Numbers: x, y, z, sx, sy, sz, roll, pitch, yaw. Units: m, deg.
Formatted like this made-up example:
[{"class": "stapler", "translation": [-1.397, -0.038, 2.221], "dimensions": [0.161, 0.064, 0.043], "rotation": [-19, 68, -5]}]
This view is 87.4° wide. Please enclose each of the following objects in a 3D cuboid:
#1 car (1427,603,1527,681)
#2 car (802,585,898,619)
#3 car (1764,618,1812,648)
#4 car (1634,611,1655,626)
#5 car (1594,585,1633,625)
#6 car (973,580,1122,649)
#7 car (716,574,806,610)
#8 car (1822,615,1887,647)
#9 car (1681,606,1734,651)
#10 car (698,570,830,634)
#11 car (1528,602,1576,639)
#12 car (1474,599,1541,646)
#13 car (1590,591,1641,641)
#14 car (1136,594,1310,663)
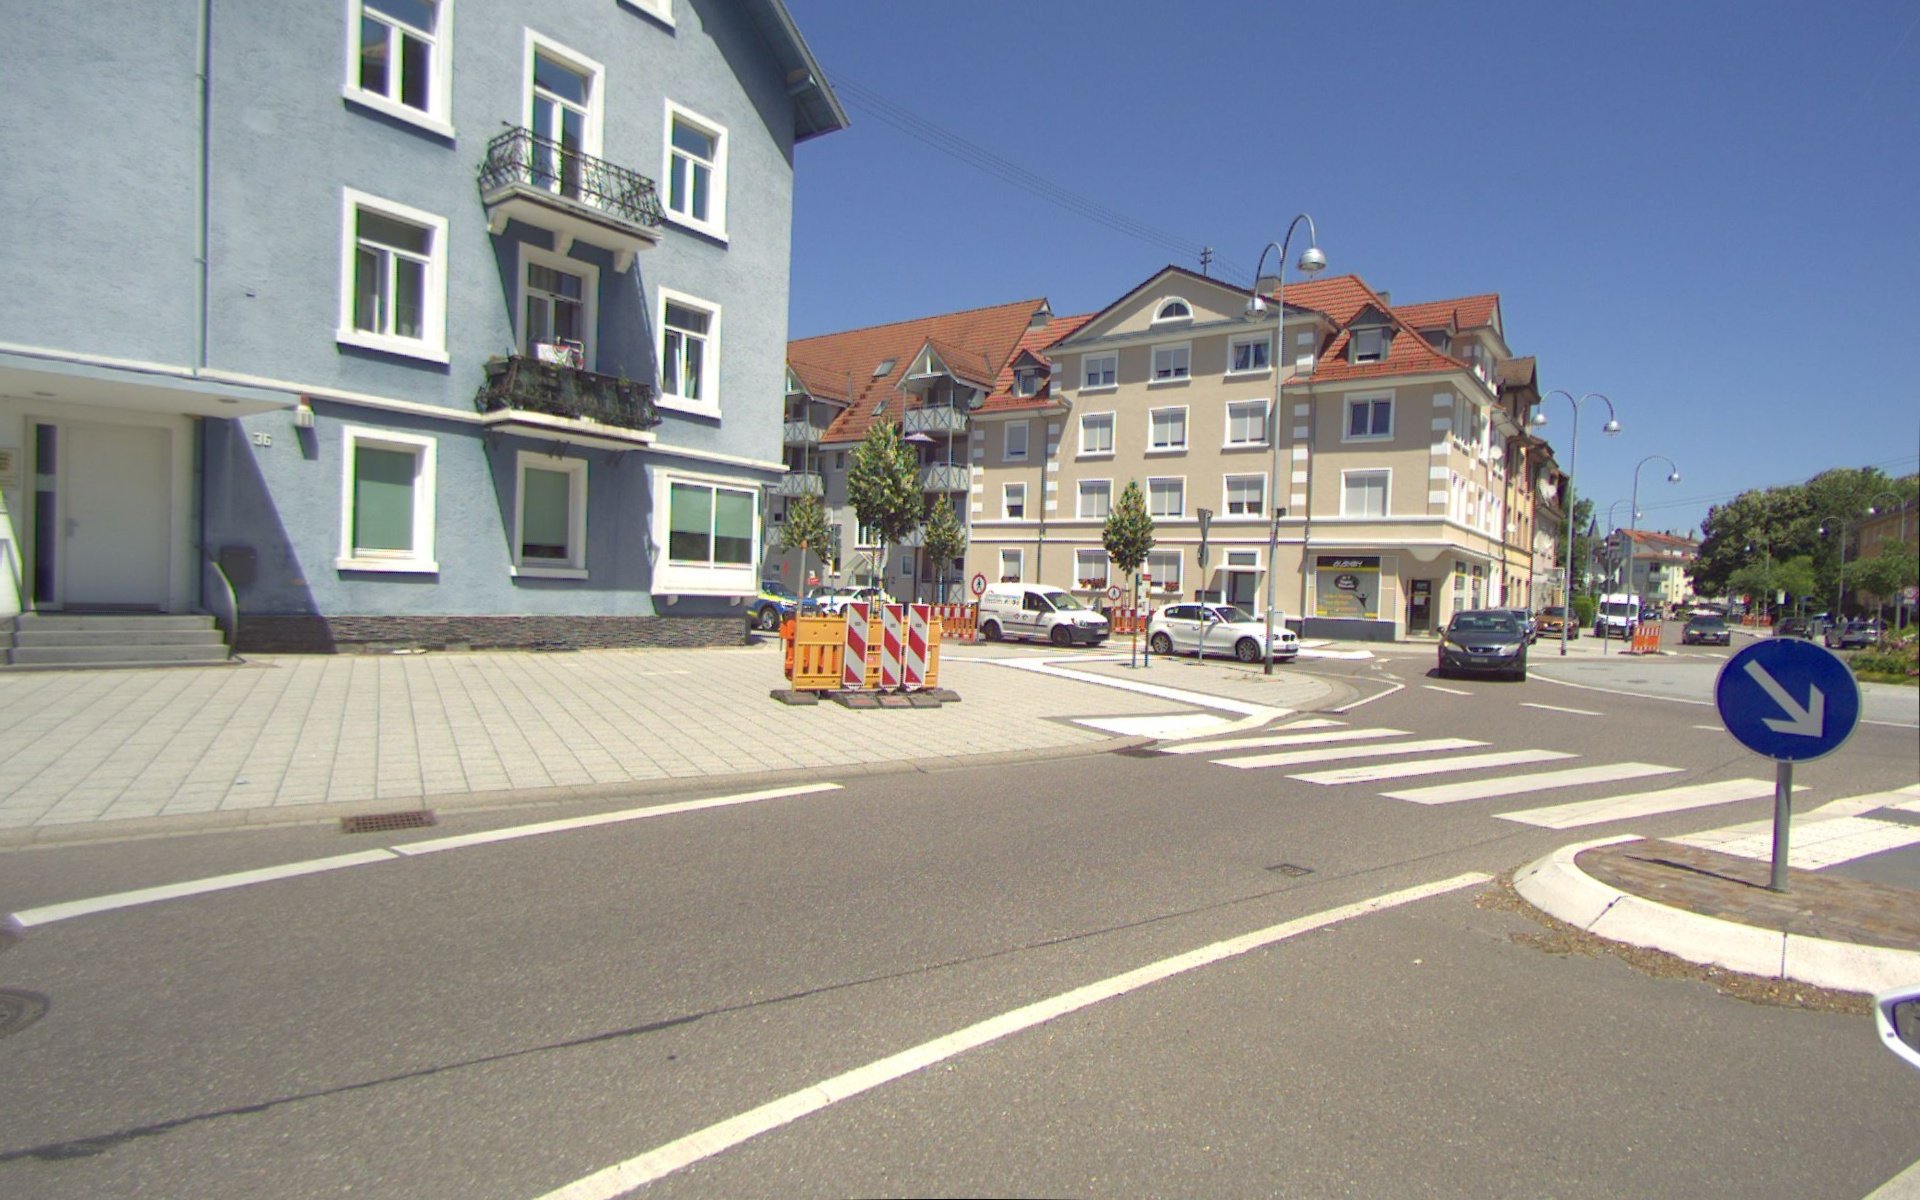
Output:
[{"class": "car", "translation": [11.281, 0.852, 22.123], "dimensions": [1.633, 1.472, 4.020], "rotation": [0, 1, 23]}, {"class": "car", "translation": [-5.129, 0.122, 47.346], "dimensions": [1.951, 1.512, 4.391], "rotation": [2, 0, 38]}, {"class": "car", "translation": [57.059, 2.255, 69.287], "dimensions": [1.786, 1.818, 3.992], "rotation": [5, 2, 30]}, {"class": "car", "translation": [86.540, 2.330, 127.039], "dimensions": [1.786, 1.818, 3.992], "rotation": [5, 2, 30]}, {"class": "car", "translation": [46.316, 0.381, 71.172], "dimensions": [2.115, 2.566, 4.841], "rotation": [5, 2, 33]}, {"class": "car", "translation": [2.583, 0.402, 30.224], "dimensions": [4.181, 1.801, 1.772], "rotation": [3, 1, 42]}, {"class": "car", "translation": [-10.232, -0.399, 51.959], "dimensions": [1.951, 1.692, 4.355], "rotation": [2, 0, 38]}, {"class": "car", "translation": [48.939, 1.657, 55.029], "dimensions": [1.786, 1.520, 3.992], "rotation": [5, 2, 30]}, {"class": "car", "translation": [38.030, 1.422, 51.128], "dimensions": [1.968, 2.040, 3.985], "rotation": [5, 2, 36]}, {"class": "car", "translation": [-6.237, 0.018, 31.733], "dimensions": [4.177, 1.801, 1.774], "rotation": [3, 1, 39]}, {"class": "car", "translation": [29.582, 1.030, 50.123], "dimensions": [1.578, 1.638, 4.077], "rotation": [5, 2, 36]}, {"class": "car", "translation": [22.192, 0.888, 40.628], "dimensions": [1.752, 1.708, 4.678], "rotation": [3, 1, 36]}, {"class": "car", "translation": [37.278, 0.907, 57.111], "dimensions": [2.115, 2.566, 6.220], "rotation": [5, 2, 33]}, {"class": "car", "translation": [6.763, 0.696, 26.129], "dimensions": [1.774, 1.571, 4.077], "rotation": [2, 0, -42]}]
